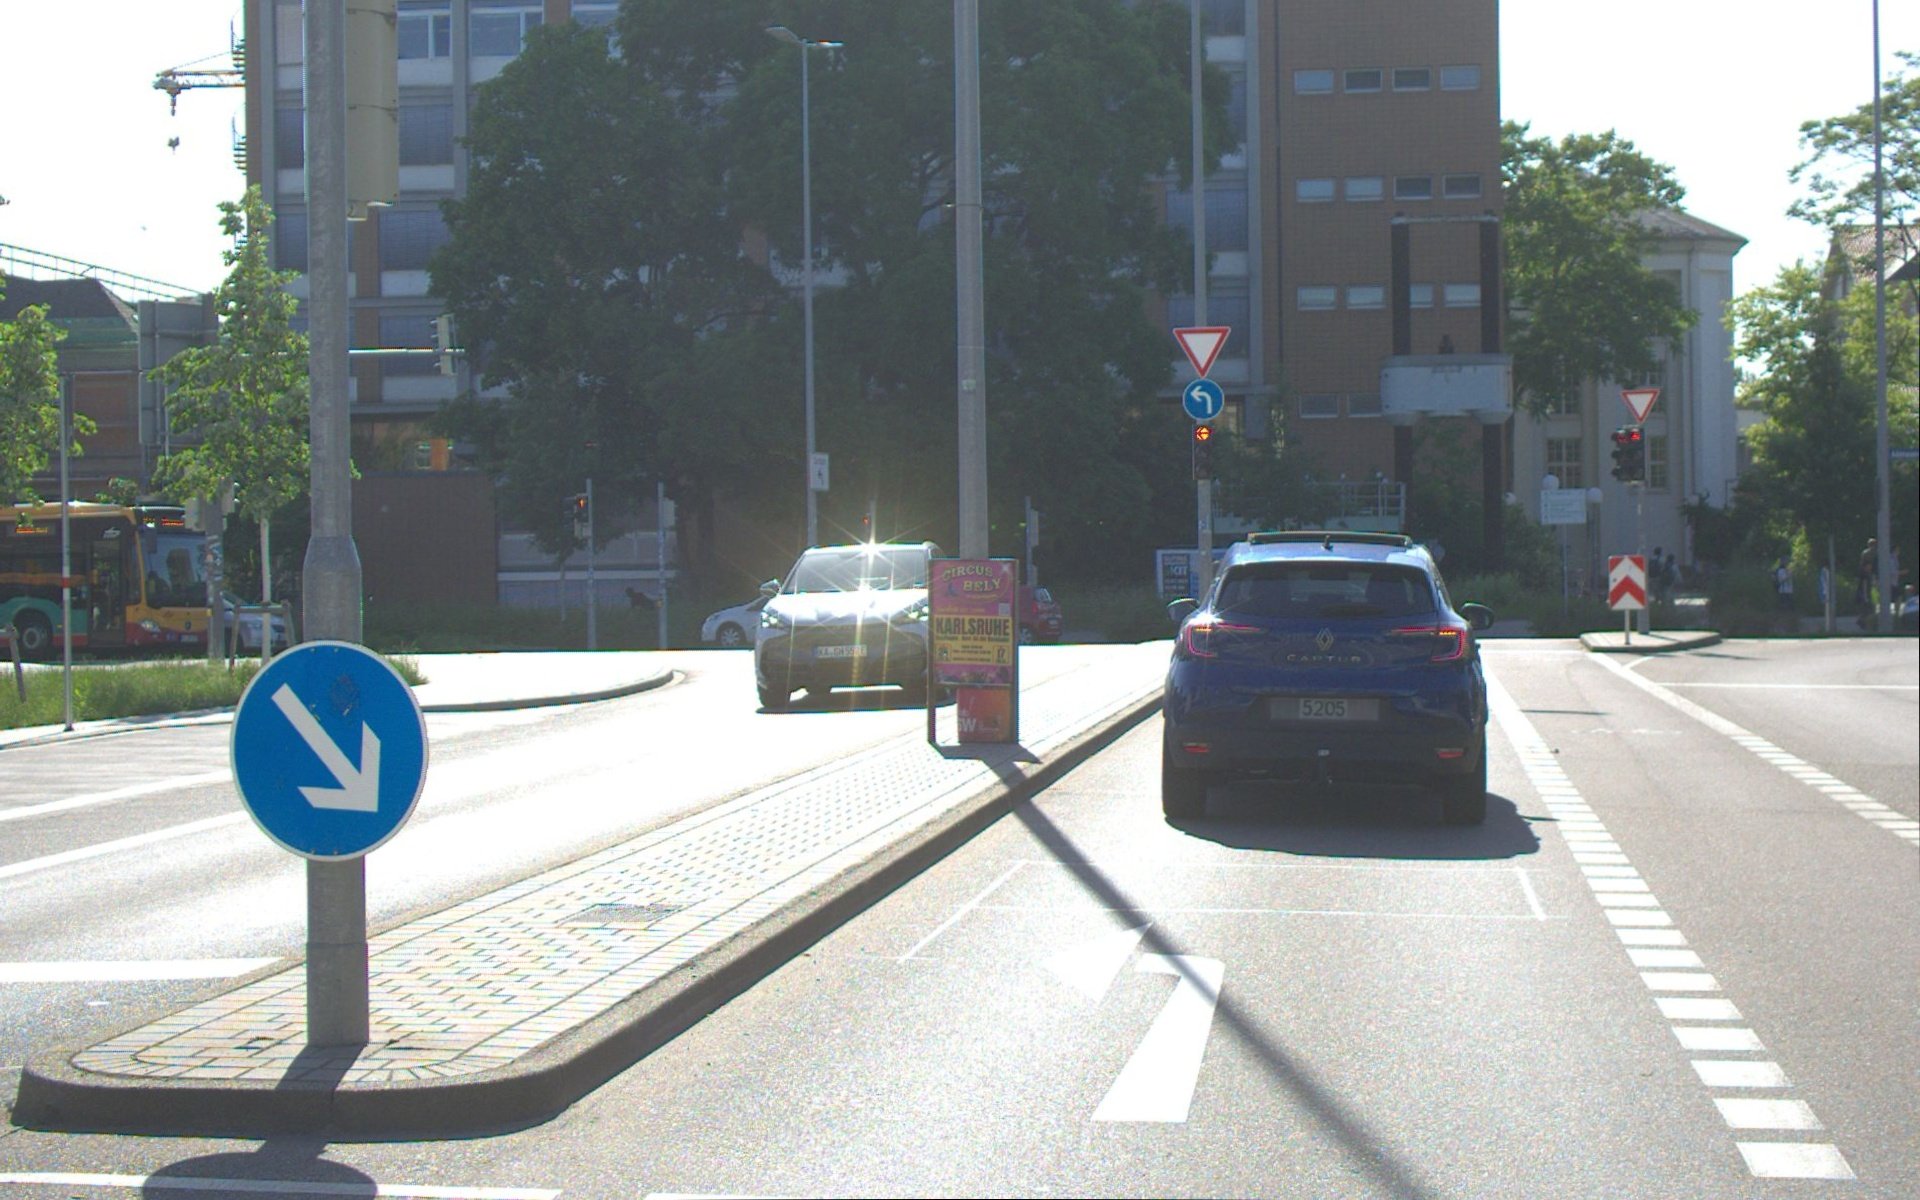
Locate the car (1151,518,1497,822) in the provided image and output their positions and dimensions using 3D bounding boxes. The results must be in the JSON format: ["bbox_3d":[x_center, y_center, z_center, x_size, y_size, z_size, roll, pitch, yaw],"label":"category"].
[{"bbox_3d":[2.109,0.361,20.196,1.823,1.594,3.658,1,0,5],"label":"car"}]

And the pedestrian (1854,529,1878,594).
[{"bbox_3d":[23.282,-0.993,88.327,0.577,1.664,0.561,0,-1,18],"label":"pedestrian"}]

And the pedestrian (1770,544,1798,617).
[{"bbox_3d":[18.852,-0.442,78.641,0.561,1.664,0.476,0,-1,23],"label":"pedestrian"}]

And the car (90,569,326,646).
[{"bbox_3d":[-15.367,0.171,70.232,4.402,1.516,1.967,0,-1,25],"label":"car"}]

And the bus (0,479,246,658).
[{"bbox_3d":[-20.245,-0.535,69.009,12.422,3.384,2.878,0,-1,26],"label":"bus"}]

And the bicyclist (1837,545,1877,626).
[{"bbox_3d":[20.586,-0.320,78.933,0.857,1.840,0.850,0,-1,17],"label":"bicyclist"}]

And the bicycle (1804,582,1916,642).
[{"bbox_3d":[20.660,0.283,78.902,2.453,1.366,0.850,0,-1,17],"label":"bicycle"}]

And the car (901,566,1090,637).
[{"bbox_3d":[0.820,0.056,77.999,3.898,1.581,1.878,0,-1,18],"label":"car"}]

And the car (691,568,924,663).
[{"bbox_3d":[-3.298,0.351,74.517,4.654,2.007,1.998,0,-1,17],"label":"car"}]

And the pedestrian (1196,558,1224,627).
[{"bbox_3d":[6.119,-0.186,84.108,0.561,1.664,0.476,0,-1,23],"label":"pedestrian"}]

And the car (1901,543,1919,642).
[{"bbox_3d":[21.595,-0.145,70.513,4.351,2.007,1.998,0,-1,17],"label":"car"}]

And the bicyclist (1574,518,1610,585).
[{"bbox_3d":[17.223,-1.328,93.660,0.881,1.791,1.160,0,-1,6],"label":"bicyclist"}]

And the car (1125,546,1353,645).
[{"bbox_3d":[5.787,-0.073,71.102,4.375,2.007,1.998,0,-1,17],"label":"car"}]

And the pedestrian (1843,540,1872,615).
[{"bbox_3d":[19.959,-0.497,76.441,0.557,1.664,0.476,0,-1,23],"label":"pedestrian"}]

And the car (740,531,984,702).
[{"bbox_3d":[-0.928,0.122,35.046,1.818,1.563,4.249,-2,1,7],"label":"car"}]
